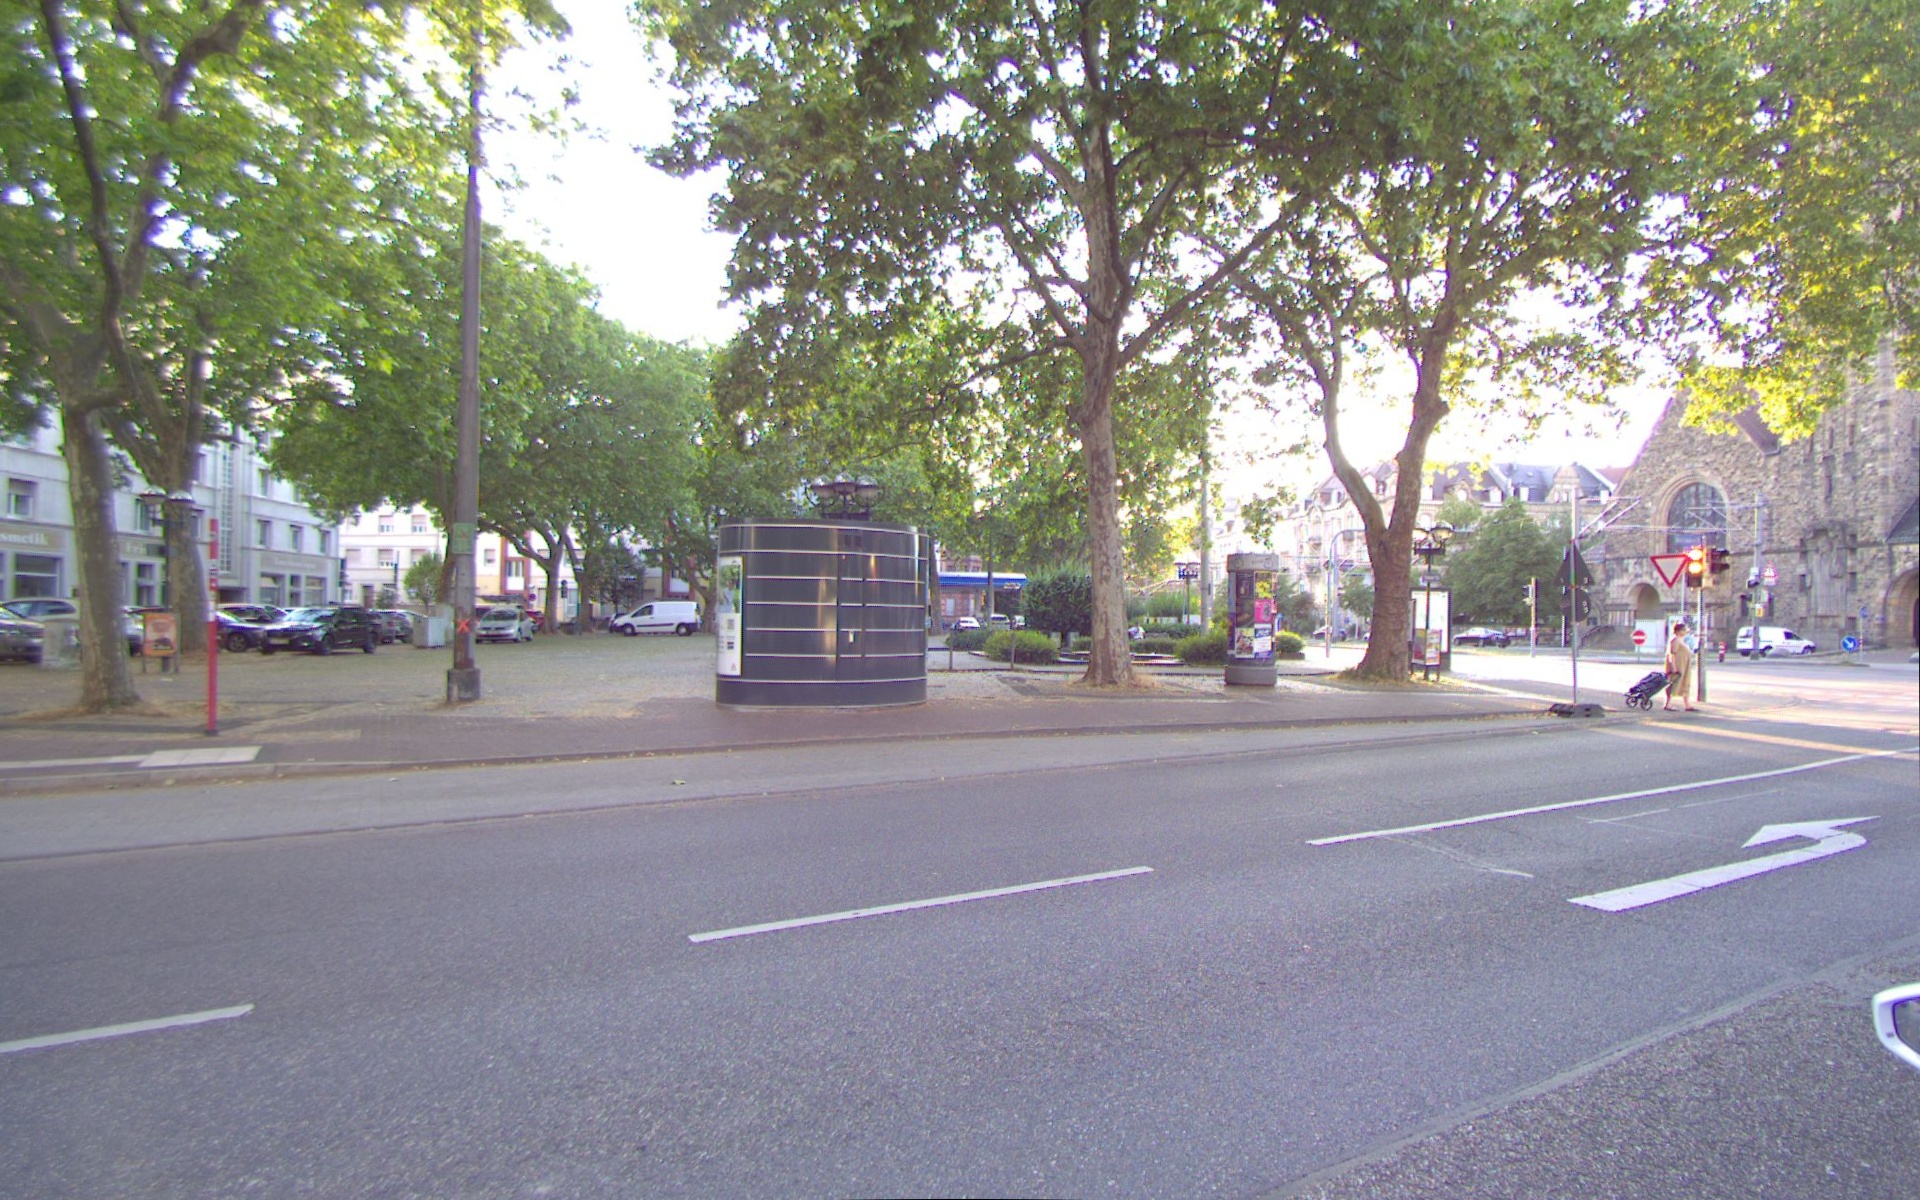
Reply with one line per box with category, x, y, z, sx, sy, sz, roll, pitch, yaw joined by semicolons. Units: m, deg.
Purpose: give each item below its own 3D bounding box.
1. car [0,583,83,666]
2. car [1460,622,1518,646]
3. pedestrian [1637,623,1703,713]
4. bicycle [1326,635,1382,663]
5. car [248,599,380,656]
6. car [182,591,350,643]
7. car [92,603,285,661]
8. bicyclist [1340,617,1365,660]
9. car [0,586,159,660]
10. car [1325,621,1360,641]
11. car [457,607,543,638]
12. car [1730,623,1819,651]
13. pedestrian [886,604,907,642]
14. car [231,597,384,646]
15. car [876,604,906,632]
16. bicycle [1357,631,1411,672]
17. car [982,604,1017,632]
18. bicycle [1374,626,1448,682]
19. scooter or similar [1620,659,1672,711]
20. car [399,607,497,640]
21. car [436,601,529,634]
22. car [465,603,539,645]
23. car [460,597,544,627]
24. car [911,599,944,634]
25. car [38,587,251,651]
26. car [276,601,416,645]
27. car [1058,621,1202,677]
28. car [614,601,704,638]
car;-23.120;0.587;22.719;4.557;1.805;1.997;-1;-2;-10
car;38.973;2.507;74.155;1.962;1.639;3.999;1;-3;-4
pedestrian;13.588;1.291;19.225;0.766;1.649;0.796;2;0;-35
bicycle;17.578;2.199;44.897;2.199;1.093;0.659;1;7;11
car;-19.218;0.815;30.099;1.642;1.549;3.760;2;-2;-4
car;-25.101;0.618;36.511;4.557;1.805;2.090;-1;-2;-10
car;-25.110;1.032;32.868;4.557;1.758;1.997;-1;-2;-10
bicyclist;17.518;1.714;44.834;0.842;1.852;0.659;2;2;11
car;-23.678;0.599;25.690;4.557;1.805;1.997;-1;-2;-10
car;36.437;2.919;95.792;1.960;1.706;4.002;2;0;4
car;-27.380;1.352;59.927;4.572;1.758;1.990;0;-2;-22
car;50.971;2.319;62.907;4.372;1.537;1.718;2;0;-6
pedestrian;-2.846;1.021;44.899;0.869;1.694;0.740;2;0;-8
car;-25.292;0.854;39.099;4.557;1.805;1.997;-1;-2;-10
car;-5.009;1.268;72.311;1.882;1.873;3.995;2;0;-7
bicycle;11.943;1.441;28.258;1.780;1.107;0.455;2;0;-33
car;2.854;1.294;73.313;1.882;1.873;3.995;2;0;-7
bicycle;11.328;1.358;25.231;1.967;1.344;0.523;2;0;-26
scooter or similar;12.812;1.567;18.757;0.845;0.910;0.586;2;0;-41
car;-27.715;1.278;54.561;4.572;1.758;1.990;0;-2;-22
car;-27.217;1.005;57.406;4.578;1.834;1.992;0;-2;-20
car;-19.787;1.002;43.580;1.642;1.684;3.760;2;0;-4
car;-28.300;0.743;62.236;4.572;1.758;1.990;0;-2;-22
car;-2.374;1.178;72.556;1.963;2.374;3.995;2;0;-7
car;-24.449;0.579;30.288;4.557;1.805;1.997;-1;-2;-10
car;-25.662;0.957;42.132;4.557;1.758;1.997;-1;-2;-10
car;5.810;1.678;34.660;4.552;1.805;1.999;-1;-2;-5
car;-16.852;1.090;56.439;4.557;1.964;1.997;-1;-2;-10
